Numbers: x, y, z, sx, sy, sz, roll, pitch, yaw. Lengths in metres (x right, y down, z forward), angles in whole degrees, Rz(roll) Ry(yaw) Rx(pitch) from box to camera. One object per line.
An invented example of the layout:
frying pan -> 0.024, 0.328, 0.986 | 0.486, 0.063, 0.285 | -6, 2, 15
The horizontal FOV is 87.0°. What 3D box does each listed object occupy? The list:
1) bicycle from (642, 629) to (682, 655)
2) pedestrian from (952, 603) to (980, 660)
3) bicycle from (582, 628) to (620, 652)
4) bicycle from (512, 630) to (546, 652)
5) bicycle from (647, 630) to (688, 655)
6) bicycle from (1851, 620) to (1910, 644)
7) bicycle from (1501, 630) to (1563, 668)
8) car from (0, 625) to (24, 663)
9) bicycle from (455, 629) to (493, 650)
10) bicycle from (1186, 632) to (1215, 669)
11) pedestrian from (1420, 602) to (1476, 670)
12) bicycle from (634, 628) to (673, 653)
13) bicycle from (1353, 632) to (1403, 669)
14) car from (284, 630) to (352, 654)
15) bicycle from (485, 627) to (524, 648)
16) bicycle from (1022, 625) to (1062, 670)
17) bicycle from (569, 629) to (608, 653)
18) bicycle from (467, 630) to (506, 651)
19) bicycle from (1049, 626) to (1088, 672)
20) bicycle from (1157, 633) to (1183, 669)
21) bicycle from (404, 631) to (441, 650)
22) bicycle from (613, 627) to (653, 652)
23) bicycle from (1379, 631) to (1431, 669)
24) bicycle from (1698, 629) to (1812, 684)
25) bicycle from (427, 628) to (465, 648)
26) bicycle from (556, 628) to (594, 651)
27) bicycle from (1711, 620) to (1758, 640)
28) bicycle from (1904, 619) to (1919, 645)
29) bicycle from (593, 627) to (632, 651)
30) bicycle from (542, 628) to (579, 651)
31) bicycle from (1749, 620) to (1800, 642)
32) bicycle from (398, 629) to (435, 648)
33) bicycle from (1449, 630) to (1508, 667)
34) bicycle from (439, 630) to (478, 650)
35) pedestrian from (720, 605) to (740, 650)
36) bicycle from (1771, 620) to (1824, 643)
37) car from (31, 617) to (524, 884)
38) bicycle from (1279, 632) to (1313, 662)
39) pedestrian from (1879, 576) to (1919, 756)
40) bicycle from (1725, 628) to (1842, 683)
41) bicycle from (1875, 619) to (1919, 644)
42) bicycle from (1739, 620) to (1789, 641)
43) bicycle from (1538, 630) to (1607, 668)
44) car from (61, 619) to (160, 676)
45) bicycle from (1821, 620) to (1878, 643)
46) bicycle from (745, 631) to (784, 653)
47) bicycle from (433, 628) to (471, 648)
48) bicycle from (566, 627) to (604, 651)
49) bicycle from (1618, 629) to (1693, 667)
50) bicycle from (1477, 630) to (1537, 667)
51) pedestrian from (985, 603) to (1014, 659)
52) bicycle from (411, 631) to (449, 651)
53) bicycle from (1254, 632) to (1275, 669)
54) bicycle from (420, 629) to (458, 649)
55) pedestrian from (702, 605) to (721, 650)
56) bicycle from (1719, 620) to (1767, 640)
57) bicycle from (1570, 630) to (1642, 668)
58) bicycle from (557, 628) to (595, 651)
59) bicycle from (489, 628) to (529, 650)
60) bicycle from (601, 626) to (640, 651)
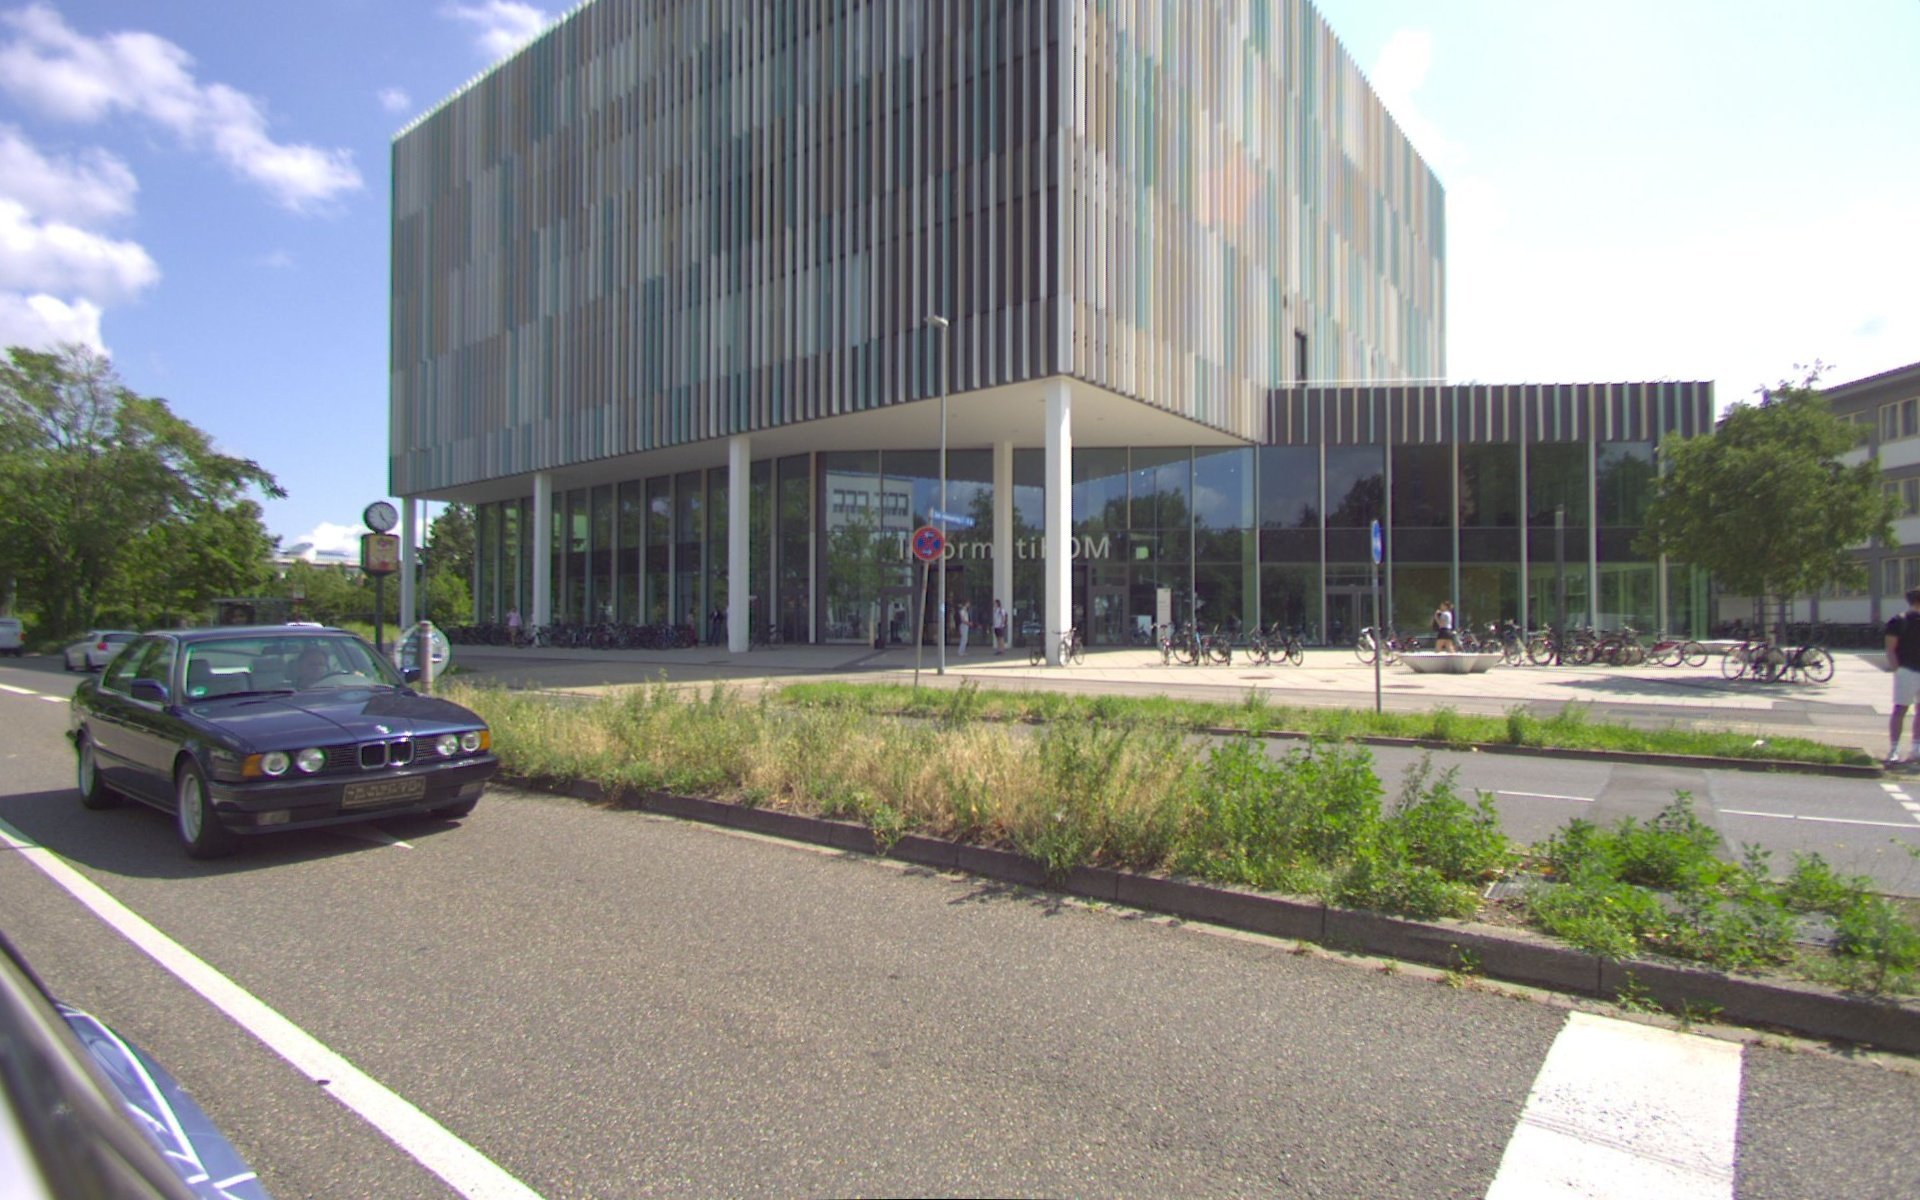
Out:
bicycle -> -12.150, 1.711, 41.318 | 1.521, 0.962, 0.374 | -1, 0, -37
pedestrian -> 0.203, 1.047, 33.625 | 0.775, 1.856, 0.519 | 0, -1, -17
bicycle -> -15.587, 1.714, 43.944 | 1.521, 0.962, 0.374 | -1, 0, -37
bicycle -> -19.556, 1.856, 45.981 | 0.372, 0.962, 1.532 | -1, 0, 27
bicycle -> -11.800, 1.702, 40.835 | 1.521, 0.962, 0.374 | -1, 0, -37
bicycle -> 37.451, 1.290, 41.174 | 1.754, 0.962, 0.527 | 0, 1, 11
bicycle -> 15.798, 1.345, 28.006 | 0.521, 0.962, 1.776 | 0, -1, -8
car -> -47.793, 2.139, 49.656 | 4.724, 1.825, 1.880 | -2, -3, 37
bicycle -> -24.665, 1.992, 51.378 | 0.432, 0.962, 1.762 | -1, 0, 38
bicycle -> 6.801, 1.425, 28.709 | 0.368, 0.962, 1.773 | 0, -1, 0
pedestrian -> 12.241, 0.885, 25.386 | 1.014, 1.663, 1.167 | -1, -2, 39
bicycle -> -12.655, 1.680, 41.790 | 1.521, 0.962, 0.374 | -1, 0, -37
bicycle -> 11.616, 1.386, 28.202 | 0.521, 0.962, 1.775 | 0, 0, -5
car -> -46.253, 3.005, 72.936 | 1.900, 1.522, 3.773 | -1, 0, 44
bicycle -> -22.591, 1.854, 50.209 | 0.432, 0.962, 1.762 | -1, 0, 38
bicycle -> 2.332, 1.336, 28.749 | 0.373, 1.196, 1.527 | 0, 1, 37
bicycle -> -16.255, 1.792, 44.308 | 1.521, 0.962, 0.374 | -1, 0, -37
bicycle -> -23.774, 2.026, 50.841 | 0.432, 0.962, 1.762 | -1, 0, 38
bicycle -> 3.062, 1.357, 28.485 | 0.373, 1.196, 1.527 | 0, 1, 37
bicycle -> 5.870, 1.413, 28.339 | 0.368, 0.962, 1.546 | 0, -1, 0
bicycle -> -29.263, 2.195, 55.112 | 0.432, 0.962, 1.762 | -1, 0, 38
bicycle -> -13.685, 1.659, 42.402 | 1.521, 0.962, 0.374 | -1, 0, -37
bicycle -> 12.429, 1.371, 28.329 | 0.521, 0.962, 1.775 | 0, 0, -5
bicycle -> 15.209, 1.057, 19.419 | 0.520, 0.962, 1.778 | 0, -1, -14
bicycle -> -27.076, 1.991, 53.367 | 0.432, 0.962, 1.762 | -1, 0, 38
bicycle -> -17.306, 1.773, 45.511 | 1.521, 0.962, 0.374 | -1, 0, -37
bicycle -> 37.752, 1.467, 49.343 | 1.754, 0.962, 0.527 | 0, 1, 11
bicycle -> 37.349, 1.227, 38.749 | 1.754, 0.962, 0.527 | 0, 1, 11
bicycle -> -14.771, 1.640, 42.988 | 1.521, 0.962, 0.374 | -1, 0, -37
bicycle -> -18.234, 1.792, 46.222 | 1.521, 0.962, 0.374 | -1, 0, -37
bicycle -> 37.249, 1.400, 46.311 | 1.754, 0.962, 0.527 | 0, 1, 11
bicycle -> -29.799, 2.090, 55.521 | 0.432, 0.962, 1.762 | -1, 0, 38
bicycle -> 14.340, 1.322, 28.063 | 0.521, 0.962, 1.776 | 0, -1, -8
bicycle -> -25.861, 2.052, 52.220 | 0.432, 0.962, 1.762 | -1, 0, 38
pedestrian -> -9.409, 1.117, 41.389 | 0.552, 1.856, 0.556 | -1, -1, 31
bicycle -> 37.218, 1.391, 44.998 | 1.754, 0.962, 0.527 | 0, 1, 11
car -> -5.243, 0.856, 7.503 | 4.607, 1.397, 1.676 | -1, 0, 38
bicycle -> 9.349, 1.310, 28.232 | 0.522, 0.770, 1.770 | 0, -1, 6
pedestrian -> 10.132, 0.676, 10.574 | 0.629, 1.856, 0.476 | -1, -1, 24
bicycle -> 15.800, 1.040, 19.467 | 0.520, 0.962, 1.778 | 0, -1, -14
bicycle -> 37.417, 1.259, 40.073 | 1.754, 0.962, 0.527 | 0, 1, 11
bicycle -> 37.460, 1.424, 47.177 | 1.754, 0.962, 0.527 | 0, 1, 11
bicycle -> 16.865, 1.333, 27.900 | 0.520, 0.962, 1.778 | 0, -1, -14
car -> -29.053, 1.634, 34.557 | 4.727, 1.825, 1.707 | -2, -4, 40
bicycle -> 37.242, 1.313, 42.397 | 1.754, 0.962, 0.527 | 0, 1, 11
bicycle -> -7.330, 1.570, 38.025 | 0.373, 0.782, 1.525 | -1, 0, 42
bicycle -> -26.615, 1.977, 53.011 | 0.432, 0.962, 1.762 | -1, 0, 38
bicycle -> -16.571, 1.725, 44.767 | 1.521, 0.962, 0.374 | -1, 0, -37
bicycle -> 18.966, 1.304, 27.650 | 0.520, 0.962, 1.778 | 0, -1, -14
bicycle -> 15.116, 1.332, 28.011 | 0.521, 0.962, 1.776 | 0, -1, -8
pedestrian -> 1.341, 1.038, 34.003 | 0.681, 1.856, 0.679 | 0, -1, -44
bicycle -> -28.473, 2.184, 54.413 | 0.432, 0.962, 1.762 | -1, 0, 38
bicycle -> 8.563, 1.401, 28.417 | 0.525, 0.962, 1.763 | -1, -1, 18
bicycle -> -27.718, 2.062, 53.849 | 0.432, 0.962, 1.762 | -1, 0, 38
pedestrian -> -10.491, 1.151, 42.673 | 0.552, 1.856, 0.556 | -1, -1, 31
bicycle -> 37.655, 1.434, 48.694 | 1.754, 0.962, 0.527 | 0, 1, 11
bicycle -> 17.650, 1.325, 27.681 | 0.520, 0.962, 1.778 | 0, -1, -14
bicycle -> -17.114, 1.755, 45.128 | 1.521, 0.962, 0.374 | -1, 0, -37
bicycle -> -21.922, 1.880, 49.228 | 0.432, 0.962, 1.762 | -1, 0, 38
bicycle -> -14.276, 1.609, 42.565 | 1.521, 0.962, 0.374 | -1, 0, -37
